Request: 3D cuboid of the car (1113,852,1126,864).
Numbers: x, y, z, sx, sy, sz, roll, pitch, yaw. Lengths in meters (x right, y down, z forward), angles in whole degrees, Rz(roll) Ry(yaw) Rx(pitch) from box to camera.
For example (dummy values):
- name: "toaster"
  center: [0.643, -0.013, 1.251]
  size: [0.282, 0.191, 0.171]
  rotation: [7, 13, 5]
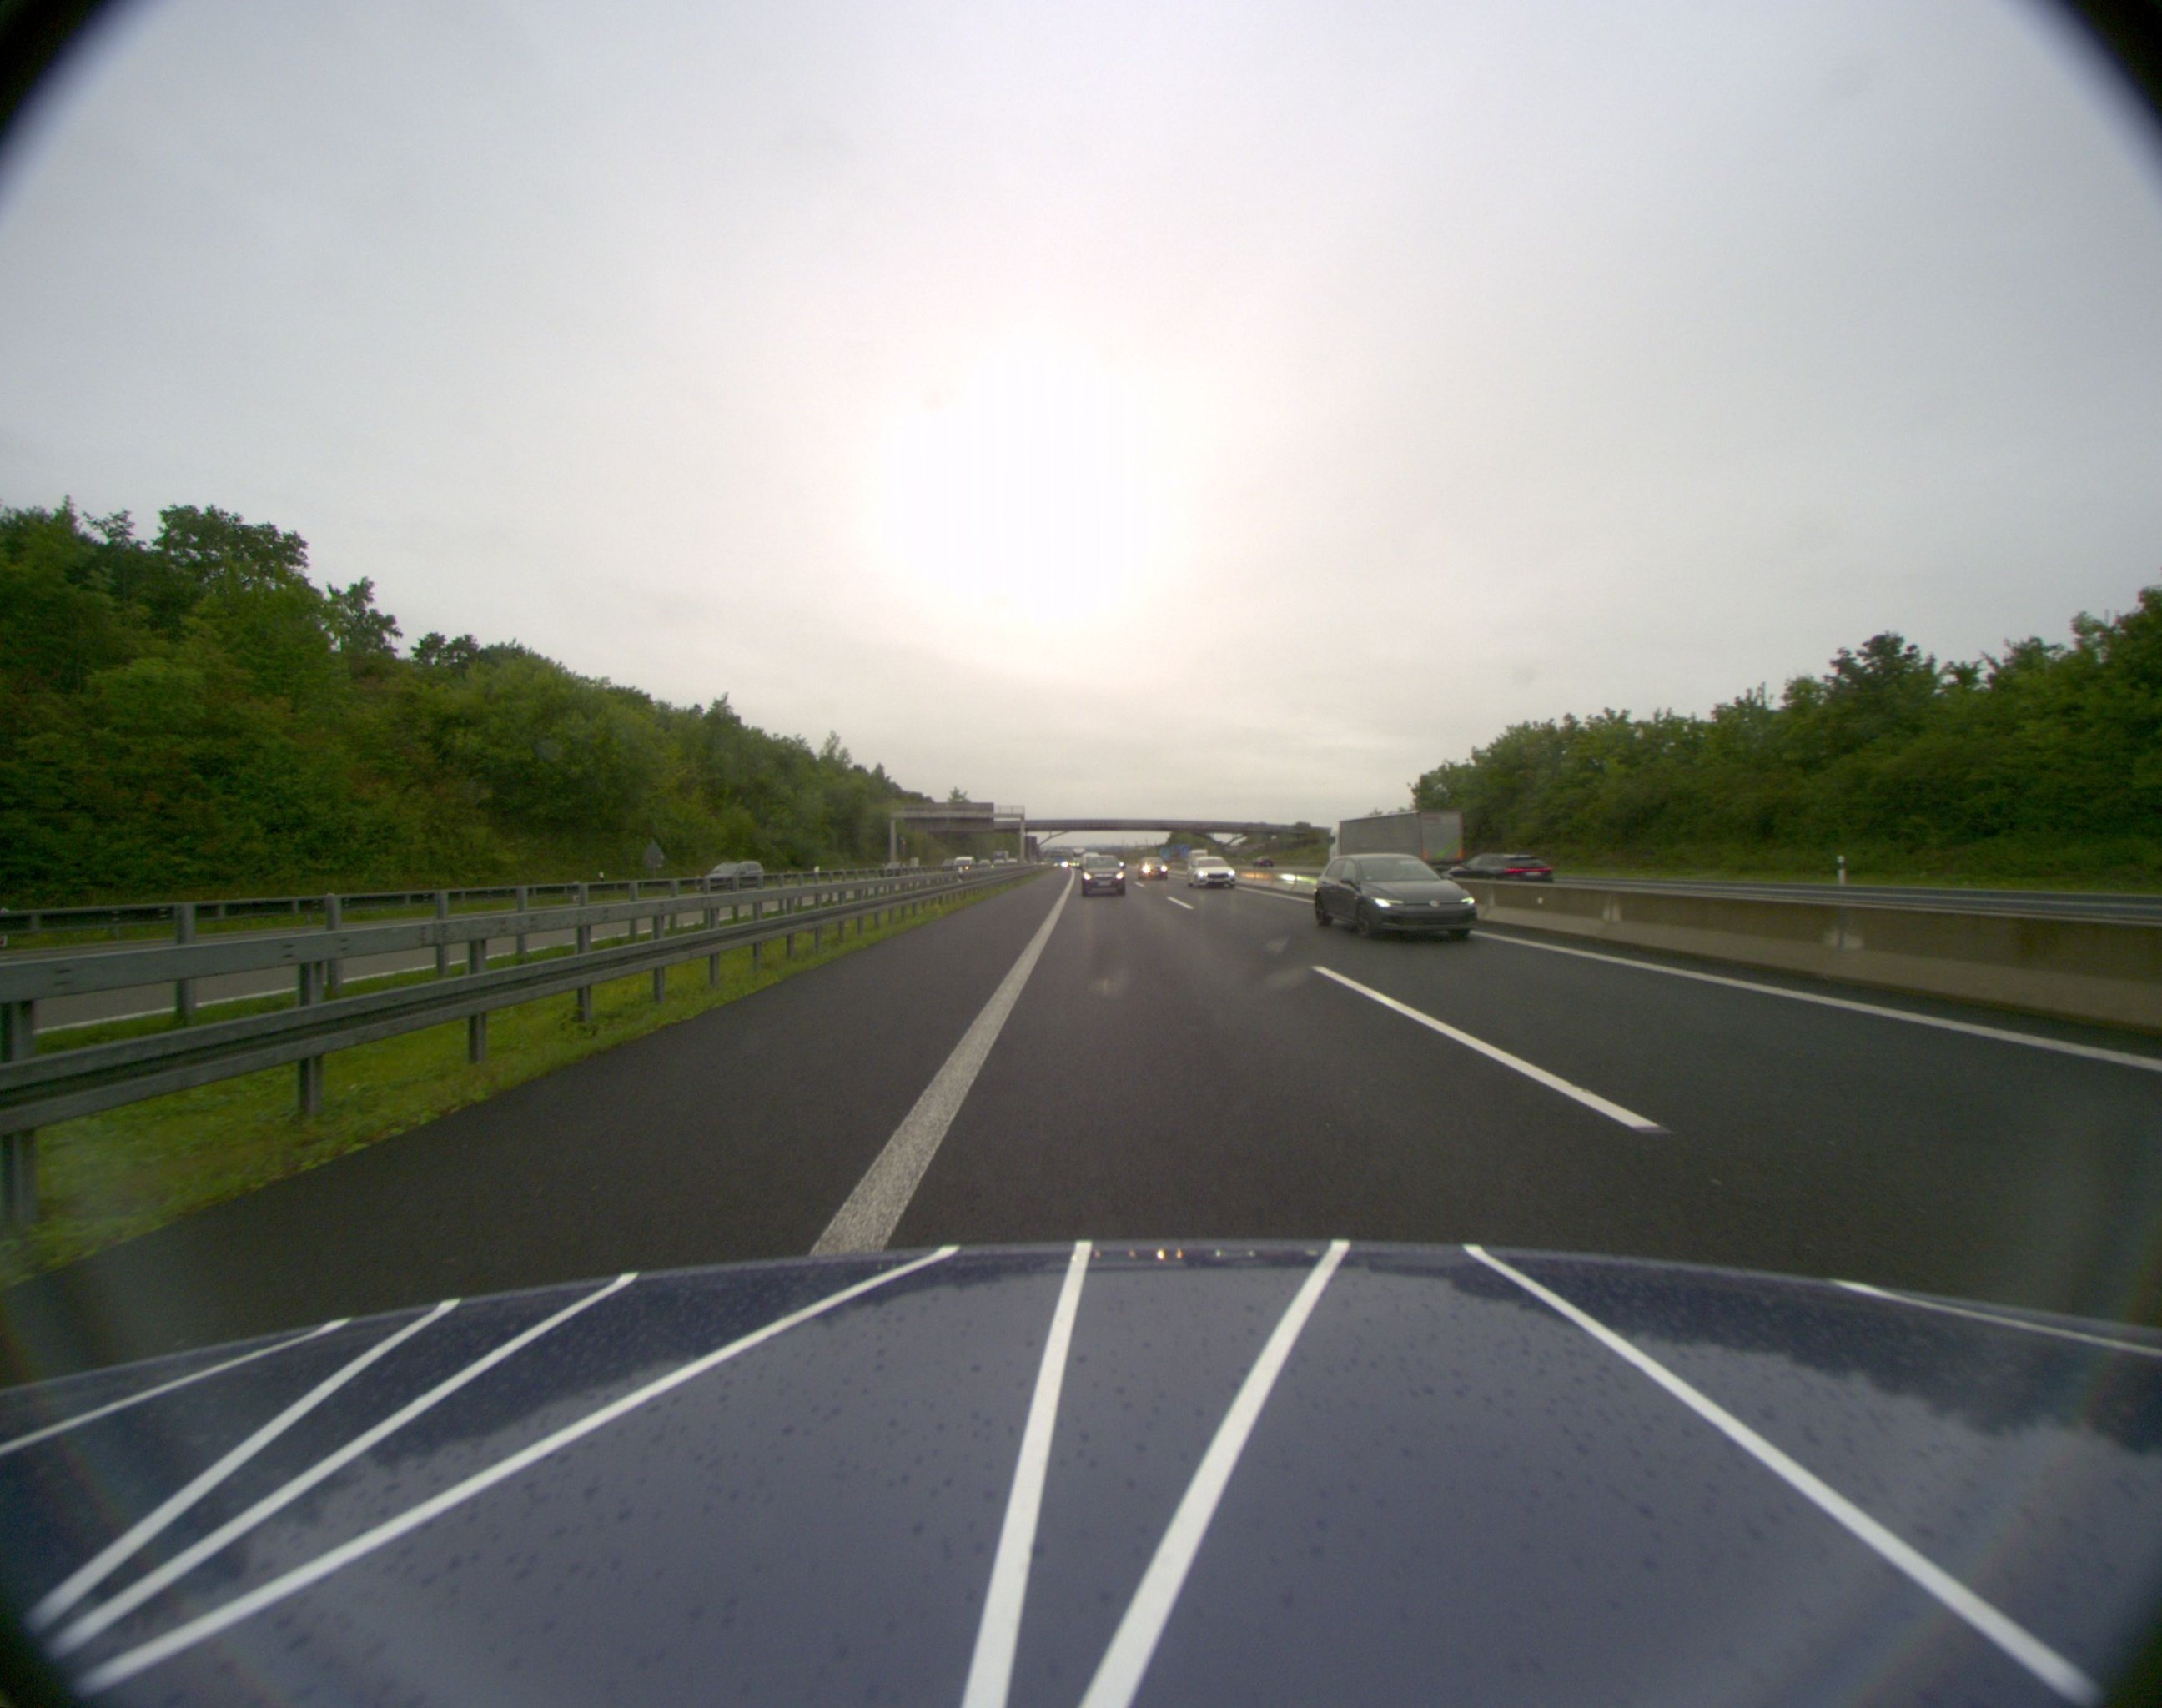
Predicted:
- name: "car"
  center: [5.770, 0.653, 114.425]
  size: [1.715, 1.724, 4.000]
  rotation: [-1, 0, 1]

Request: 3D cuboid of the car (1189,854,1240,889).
- name: "car"
  center: [6.298, 0.784, 36.264]
  size: [1.905, 1.497, 4.115]
  rotation: [-1, 0, 3]

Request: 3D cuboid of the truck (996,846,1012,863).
- name: "truck"
  center: [-16.570, 0.057, 163.557]
  size: [2.909, 3.397, 9.279]
  rotation: [-1, 0, -2]

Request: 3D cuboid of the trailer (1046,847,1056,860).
- name: "trailer"
  center: [-9.308, -0.168, 235.715]
  size: [2.547, 3.799, 11.329]
  rotation: [-1, 0, 0]

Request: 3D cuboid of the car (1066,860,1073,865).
- name: "car"
  center: [-3.681, 2.771, 245.915]
  size: [1.916, 1.671, 4.001]
  rotation: [-1, 0, 3]

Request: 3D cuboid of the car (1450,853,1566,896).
- name: "car"
  center: [15.493, 0.687, 27.873]
  size: [1.905, 1.397, 4.379]
  rotation: [-1, 0, 2]

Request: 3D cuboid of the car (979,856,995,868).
- name: "car"
  center: [-14.947, 1.202, 121.001]
  size: [2.013, 1.804, 4.276]
  rotation: [-1, 0, 1]

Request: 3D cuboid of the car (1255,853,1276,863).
- name: "car"
  center: [23.447, 0.491, 96.536]
  size: [1.693, 1.286, 3.923]
  rotation: [-1, 0, 0]

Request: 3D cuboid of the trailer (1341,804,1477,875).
- name: "trailer"
  center: [21.539, -0.845, 51.385]
  size: [3.268, 4.059, 13.844]
  rotation: [-1, 0, 0]

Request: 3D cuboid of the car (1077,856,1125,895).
- name: "car"
  center: [0.914, 0.866, 32.185]
  size: [1.905, 1.497, 4.115]
  rotation: [-1, 0, 3]

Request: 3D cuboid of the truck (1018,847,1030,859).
- name: "truck"
  center: [-17.541, -0.262, 232.985]
  size: [2.909, 3.397, 13.350]
  rotation: [-1, 0, -1]

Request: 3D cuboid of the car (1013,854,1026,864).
- name: "car"
  center: [-11.050, 0.910, 136.892]
  size: [2.013, 1.804, 4.276]
  rotation: [-1, 0, 1]

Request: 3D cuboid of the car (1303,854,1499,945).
- name: "car"
  center: [5.744, 0.730, 14.318]
  size: [1.905, 1.397, 4.459]
  rotation: [-1, 0, 2]

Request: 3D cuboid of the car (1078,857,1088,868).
- name: "car"
  center: [0.348, 1.480, 127.031]
  size: [1.715, 1.724, 4.000]
  rotation: [-1, 0, 1]

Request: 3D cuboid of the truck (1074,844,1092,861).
- name: "truck"
  center: [0.423, -0.350, 158.041]
  size: [3.154, 3.332, 13.097]
  rotation: [-1, 0, -2]

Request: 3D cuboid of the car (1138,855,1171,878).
- name: "car"
  center: [4.979, 0.818, 51.654]
  size: [1.905, 1.497, 4.114]
  rotation: [-1, 0, 1]

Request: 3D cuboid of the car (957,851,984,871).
- name: "car"
  center: [-10.642, 0.655, 73.338]
  size: [1.864, 1.794, 4.647]
  rotation: [-1, 0, 0]

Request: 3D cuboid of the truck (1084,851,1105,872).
- name: "truck"
  center: [1.458, 0.808, 85.400]
  size: [2.175, 2.214, 5.642]
  rotation: [-1, 0, 0]

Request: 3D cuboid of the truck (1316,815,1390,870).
- name: "truck"
  center: [21.605, -0.857, 60.950]
  size: [3.268, 4.059, 7.441]
  rotation: [-1, 0, 0]

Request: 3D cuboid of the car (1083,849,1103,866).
- name: "car"
  center: [1.217, 0.299, 78.359]
  size: [1.825, 1.669, 4.001]
  rotation: [-1, 0, 4]

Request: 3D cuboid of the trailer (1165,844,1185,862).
- name: "trailer"
  center: [22.198, -0.174, 180.430]
  size: [2.797, 4.059, 13.524]
  rotation: [-1, 0, -1]

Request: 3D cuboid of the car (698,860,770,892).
- name: "car"
  center: [-18.941, 1.182, 41.680]
  size: [1.864, 1.573, 4.240]
  rotation: [-1, 0, 1]

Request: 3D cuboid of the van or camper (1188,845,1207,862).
- name: "van or camper"
  center: [16.748, -0.087, 109.511]
  size: [1.799, 2.455, 5.547]
  rotation: [-1, 0, 1]
